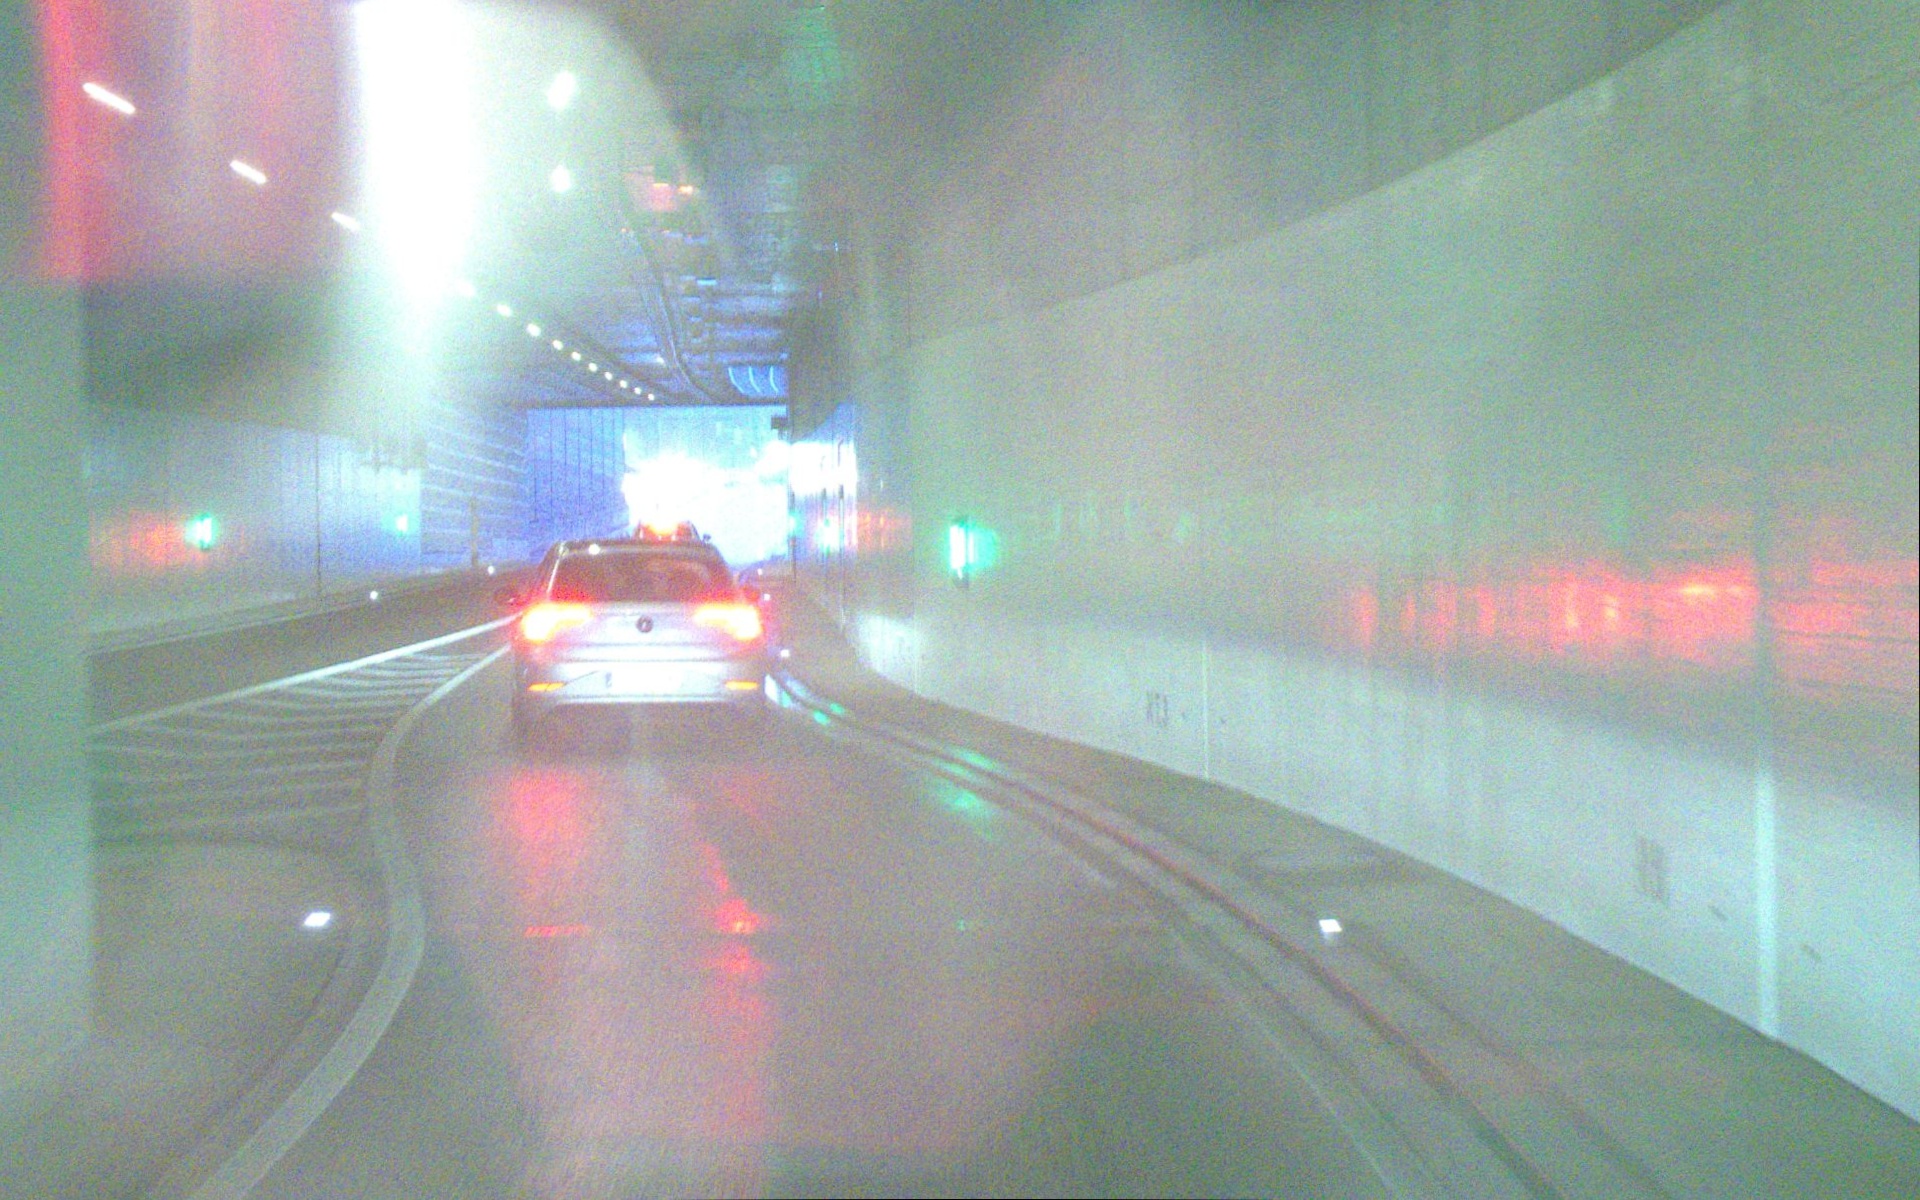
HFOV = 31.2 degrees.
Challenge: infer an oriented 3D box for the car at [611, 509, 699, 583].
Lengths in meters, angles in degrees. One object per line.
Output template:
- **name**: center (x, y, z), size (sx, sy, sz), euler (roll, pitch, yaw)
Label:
- **car**: center (-6.930, -1.209, 77.823), size (1.880, 1.615, 4.001), euler (0, 0, -6)

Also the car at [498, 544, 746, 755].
- **car**: center (-2.482, 0.300, 24.671), size (1.531, 1.392, 3.435), euler (0, 1, -10)
